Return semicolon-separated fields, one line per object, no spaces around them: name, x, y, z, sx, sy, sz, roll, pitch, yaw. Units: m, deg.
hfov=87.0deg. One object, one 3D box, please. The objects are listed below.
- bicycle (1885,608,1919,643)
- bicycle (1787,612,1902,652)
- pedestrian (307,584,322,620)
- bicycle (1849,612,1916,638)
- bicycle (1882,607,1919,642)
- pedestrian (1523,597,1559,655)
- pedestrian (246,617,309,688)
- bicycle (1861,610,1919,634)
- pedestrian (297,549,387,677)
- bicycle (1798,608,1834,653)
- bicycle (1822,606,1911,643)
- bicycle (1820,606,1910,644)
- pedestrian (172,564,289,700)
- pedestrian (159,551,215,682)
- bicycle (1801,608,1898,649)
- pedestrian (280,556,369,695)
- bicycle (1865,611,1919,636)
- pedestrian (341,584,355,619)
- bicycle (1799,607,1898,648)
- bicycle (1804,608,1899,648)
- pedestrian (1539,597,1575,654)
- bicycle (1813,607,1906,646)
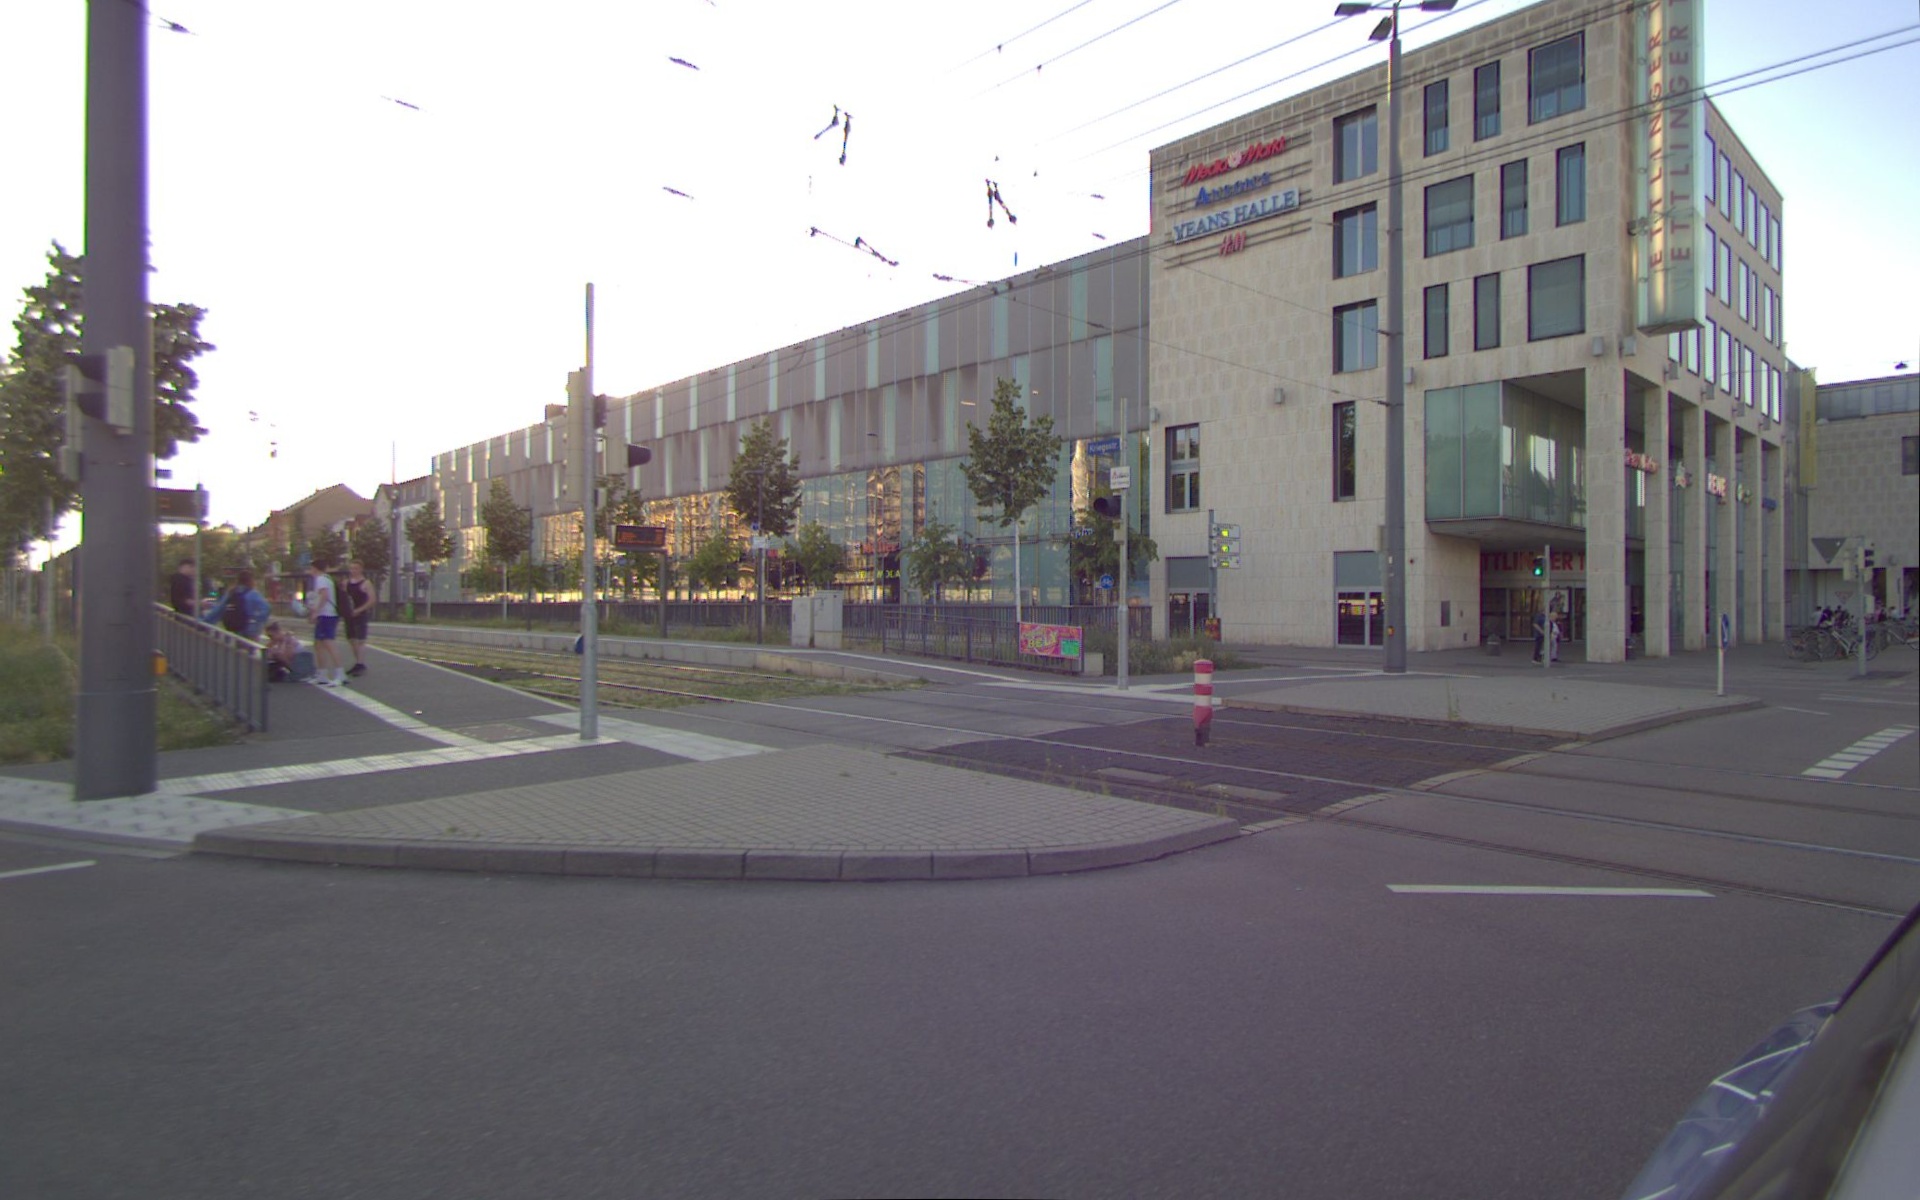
bicycle;38.364;1.027;40.093;0.608;1.340;2.505;-1;1;-41
bicycle;29.635;1.035;33.963;0.749;1.231;2.810;0;0;-31
pedestrian;-34.688;0.109;54.422;0.604;1.876;0.727;-2;4;-31
bicycle;39.812;1.064;43.714;0.500;1.054;2.114;0;0;-43
bicycle;37.638;0.968;39.394;0.608;1.340;2.505;-1;1;-41
pedestrian;17.705;0.781;30.832;0.820;1.728;0.763;0;0;-43
pedestrian;-10.014;0.757;14.857;0.648;0.975;0.644;0;0;43
bicycle;42.771;1.014;46.248;0.500;1.054;2.347;0;0;-43
pedestrian;-9.408;0.166;15.425;0.881;1.876;0.723;1;3;15
bicycle;27.781;0.967;32.834;2.467;1.341;0.618;-1;0;-43
bicycle;35.026;0.925;39.128;0.608;1.340;2.505;-1;1;-41
bicycle;34.464;0.937;38.591;0.608;1.340;2.505;-1;1;-41
pedestrian;-9.832;0.400;13.685;0.986;1.745;0.873;-1;3;-15
pedestrian;-11.469;0.223;15.014;0.576;1.876;0.604;-2;4;-39
bicycle;31.448;0.991;35.822;0.608;1.340;2.505;-1;1;-41
pedestrian;-9.063;0.323;14.479;0.986;1.876;0.896;-2;4;-29
bicycle;41.668;1.035;45.037;0.500;1.054;2.067;0;0;-43
pedestrian;-33.367;0.073;55.165;0.604;1.876;0.727;-2;4;-31
bicycle;30.781;0.937;35.098;0.608;1.340;2.505;-1;1;-41
bicycle;31.933;0.984;36.303;0.608;1.340;2.505;-1;1;-41
pedestrian;18.519;0.770;31.369;0.820;1.728;0.763;0;0;-43
bicycle;33.230;0.959;37.433;0.608;1.340;2.505;-1;1;-41
